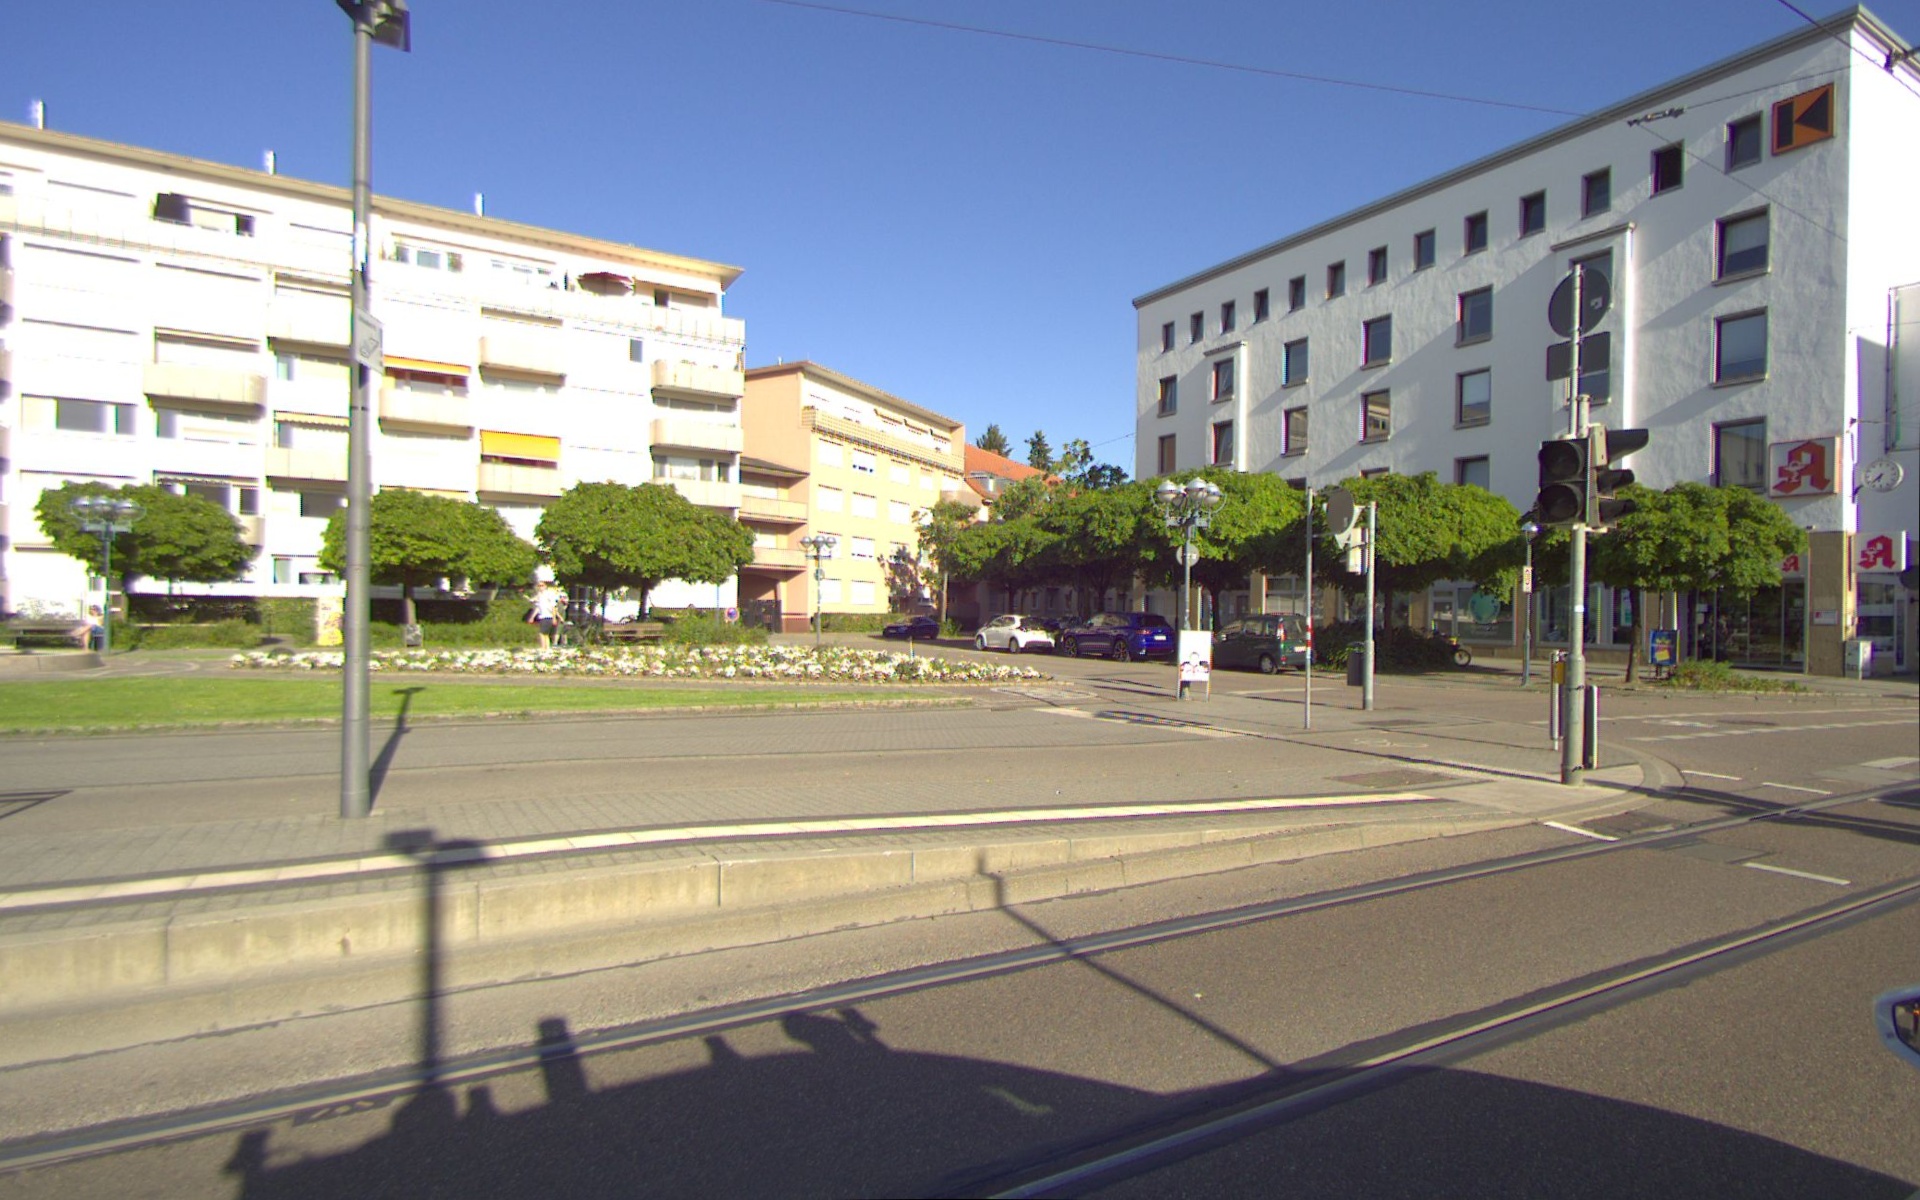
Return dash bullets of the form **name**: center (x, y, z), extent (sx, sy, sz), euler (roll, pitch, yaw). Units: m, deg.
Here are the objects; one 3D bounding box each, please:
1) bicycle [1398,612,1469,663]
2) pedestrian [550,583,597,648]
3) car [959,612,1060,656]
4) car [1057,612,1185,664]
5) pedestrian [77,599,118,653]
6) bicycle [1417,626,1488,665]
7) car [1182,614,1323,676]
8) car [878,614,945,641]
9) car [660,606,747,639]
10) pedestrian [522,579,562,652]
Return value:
- **bicycle**: center (15.584, 1.221, 33.046), extent (2.585, 1.628, 0.616), euler (1, -1, -26)
- **pedestrian**: center (-12.433, 0.511, 32.301), extent (1.219, 2.040, 1.214), euler (1, -1, -30)
- **car**: center (1.914, 1.320, 40.570), extent (1.834, 1.628, 4.581), euler (1, -1, -31)
- **car**: center (5.572, 1.289, 35.410), extent (1.977, 1.684, 4.581), euler (1, -1, -31)
- **pedestrian**: center (-22.657, 0.673, 26.411), extent (0.672, 1.378, 1.042), euler (1, -1, -34)
- **bicycle**: center (15.905, 1.458, 32.400), extent (2.586, 1.206, 0.615), euler (1, -1, -27)
- **car**: center (8.755, 1.305, 30.408), extent (1.804, 1.728, 3.968), euler (1, -1, -30)
- **car**: center (-2.825, 1.615, 59.683), extent (1.887, 1.514, 4.343), euler (2, 0, 31)
- **car**: center (-10.885, 0.961, 42.644), extent (3.271, 1.372, 1.638), euler (1, -1, -29)
- **pedestrian**: center (-10.774, 0.394, 25.911), extent (0.856, 1.841, 0.944), euler (1, 0, -18)
